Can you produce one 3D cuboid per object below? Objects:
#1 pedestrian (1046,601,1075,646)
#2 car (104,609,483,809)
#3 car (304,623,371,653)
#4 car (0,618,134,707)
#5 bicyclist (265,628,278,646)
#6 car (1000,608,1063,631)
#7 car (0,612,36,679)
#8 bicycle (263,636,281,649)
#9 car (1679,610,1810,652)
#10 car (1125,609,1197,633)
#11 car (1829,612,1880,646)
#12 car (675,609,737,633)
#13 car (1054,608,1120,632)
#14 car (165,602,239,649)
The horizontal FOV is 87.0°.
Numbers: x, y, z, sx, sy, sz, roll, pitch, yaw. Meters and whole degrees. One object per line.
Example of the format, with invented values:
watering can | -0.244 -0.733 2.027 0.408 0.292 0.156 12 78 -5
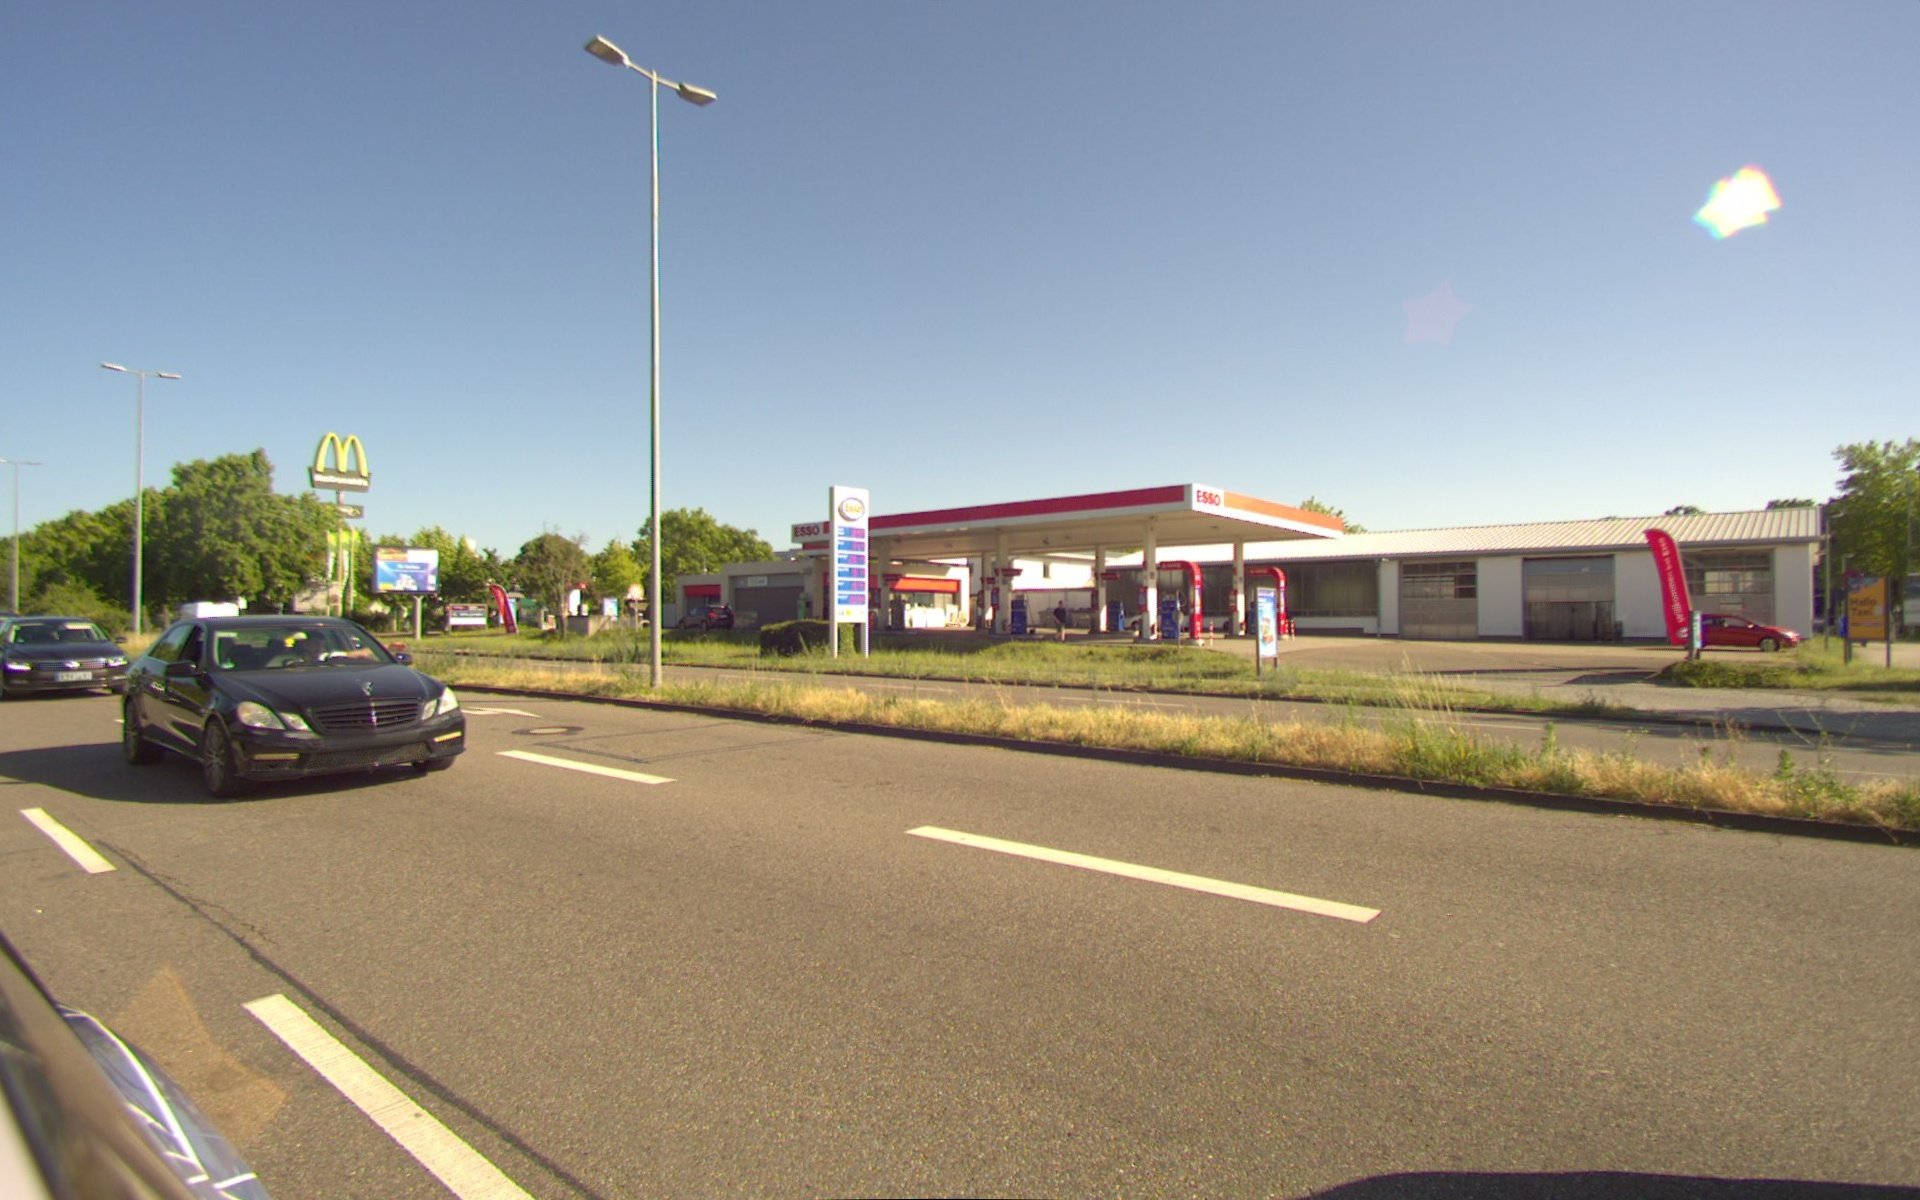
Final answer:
pedestrian | 4.100 0.947 41.241 0.903 1.763 0.781 0 0 39
car | -6.488 0.829 9.647 4.399 1.449 1.845 0 0 40
car | -33.209 2.013 53.962 4.476 1.502 1.740 -1 -4 41
car | -17.146 1.082 18.993 4.284 1.438 1.775 -1 0 40
bicyclist | -49.105 2.639 72.198 0.700 1.298 0.621 0 0 41
car | 4.772 1.308 67.974 3.975 1.420 1.661 0 -3 40
car | -25.241 1.156 26.043 3.876 1.629 1.653 -1 0 40
bicycle | -49.065 3.040 72.156 1.741 0.874 0.621 0 0 42
car | 31.601 1.210 40.830 1.757 1.528 4.003 -1 0 -44
car | 12.193 1.269 61.457 3.975 1.420 1.661 0 -3 40
car | 40.289 1.290 45.620 1.653 1.375 3.723 0 0 41
car | -15.468 1.264 61.515 3.975 1.420 1.661 0 -2 40
car | 8.179 1.289 65.186 3.975 1.420 1.661 0 -3 40
car | -43.261 1.432 57.705 5.817 2.466 2.002 -1 -4 40
